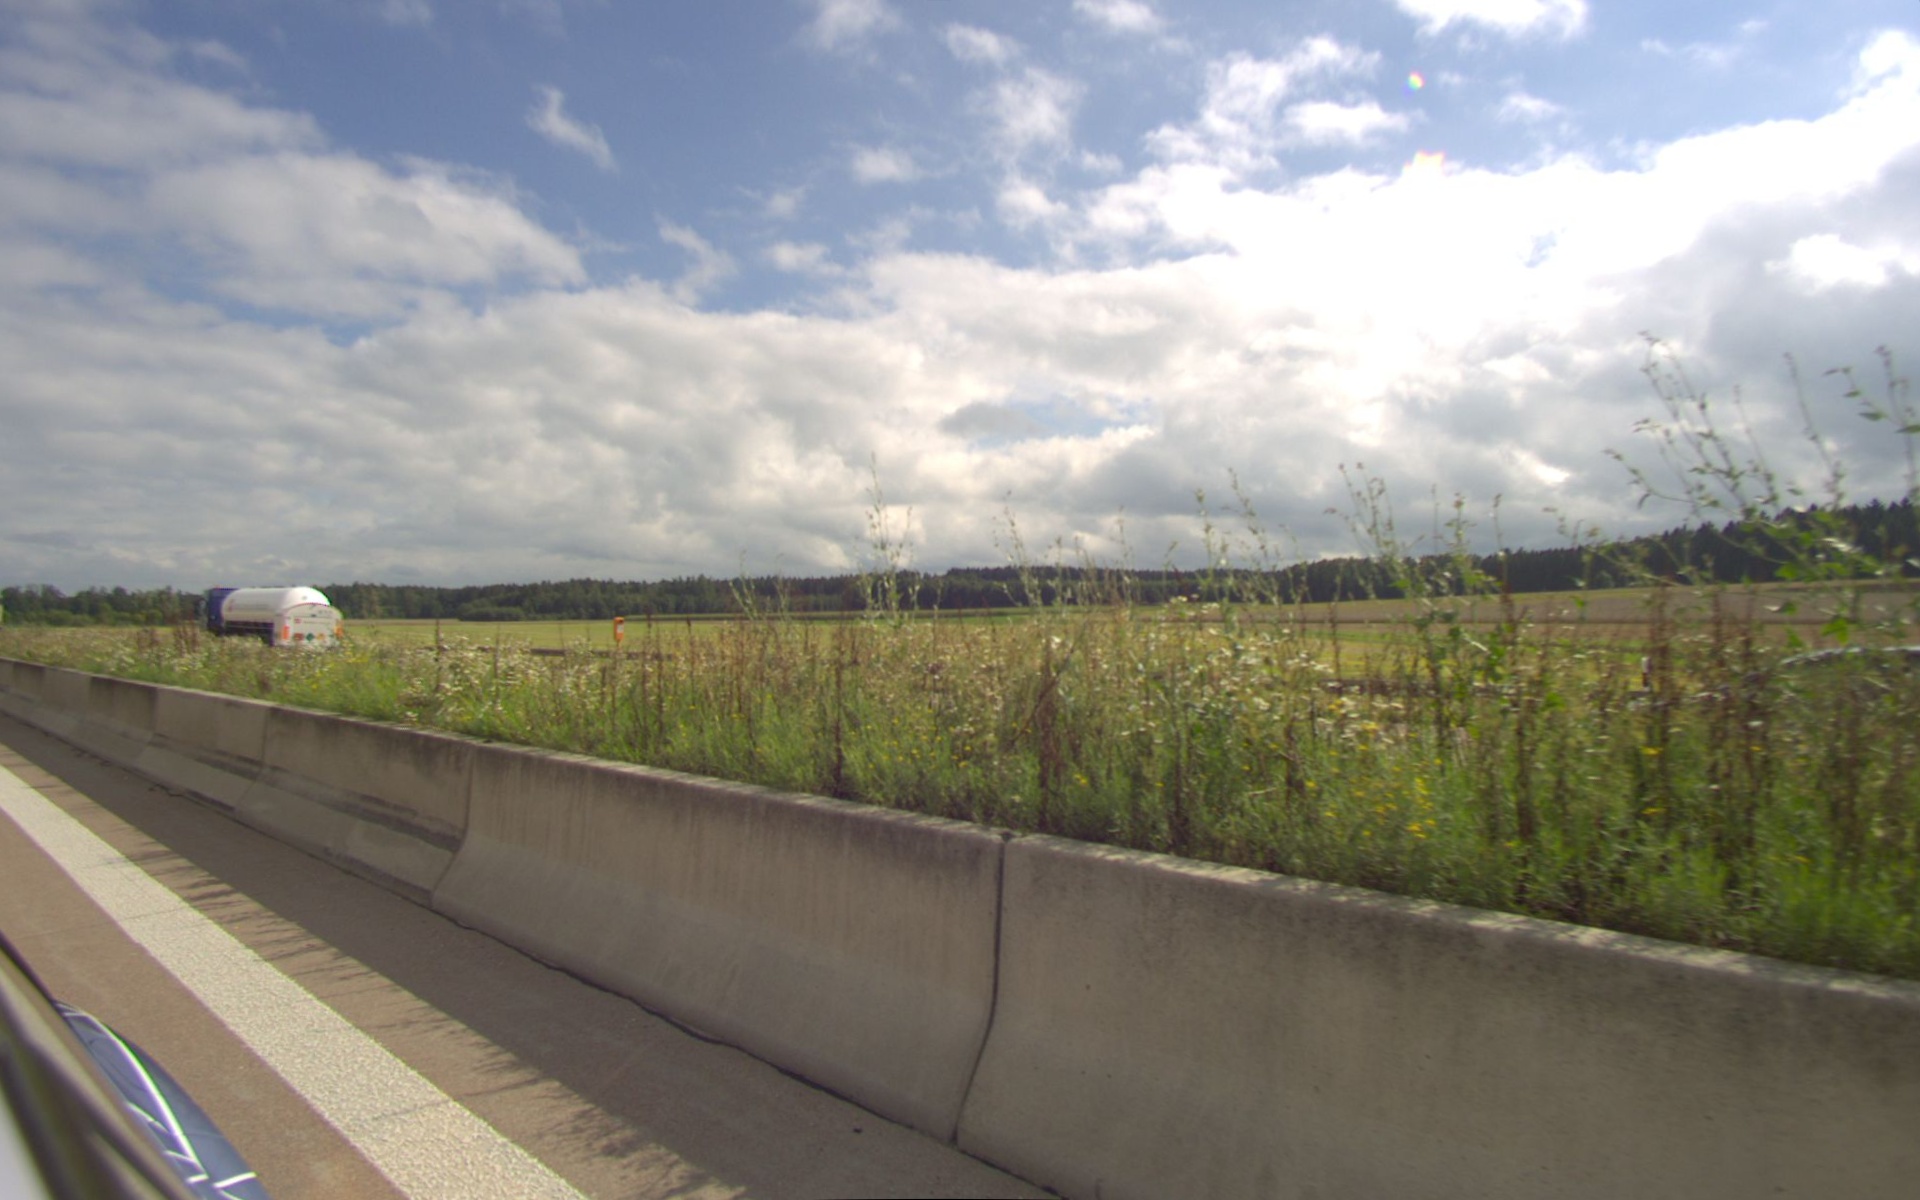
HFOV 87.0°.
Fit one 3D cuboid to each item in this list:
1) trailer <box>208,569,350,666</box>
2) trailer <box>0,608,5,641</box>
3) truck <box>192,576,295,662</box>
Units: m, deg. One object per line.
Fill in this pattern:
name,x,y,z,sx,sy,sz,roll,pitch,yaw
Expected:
trailer,-32.546,0.922,48.106,11.033,4.130,2.861,-2,-3,42
trailer,-124.048,3.193,128.223,13.253,4.129,3.174,-2,0,42
truck,-36.844,1.040,51.957,6.332,4.130,2.861,-2,-4,42
